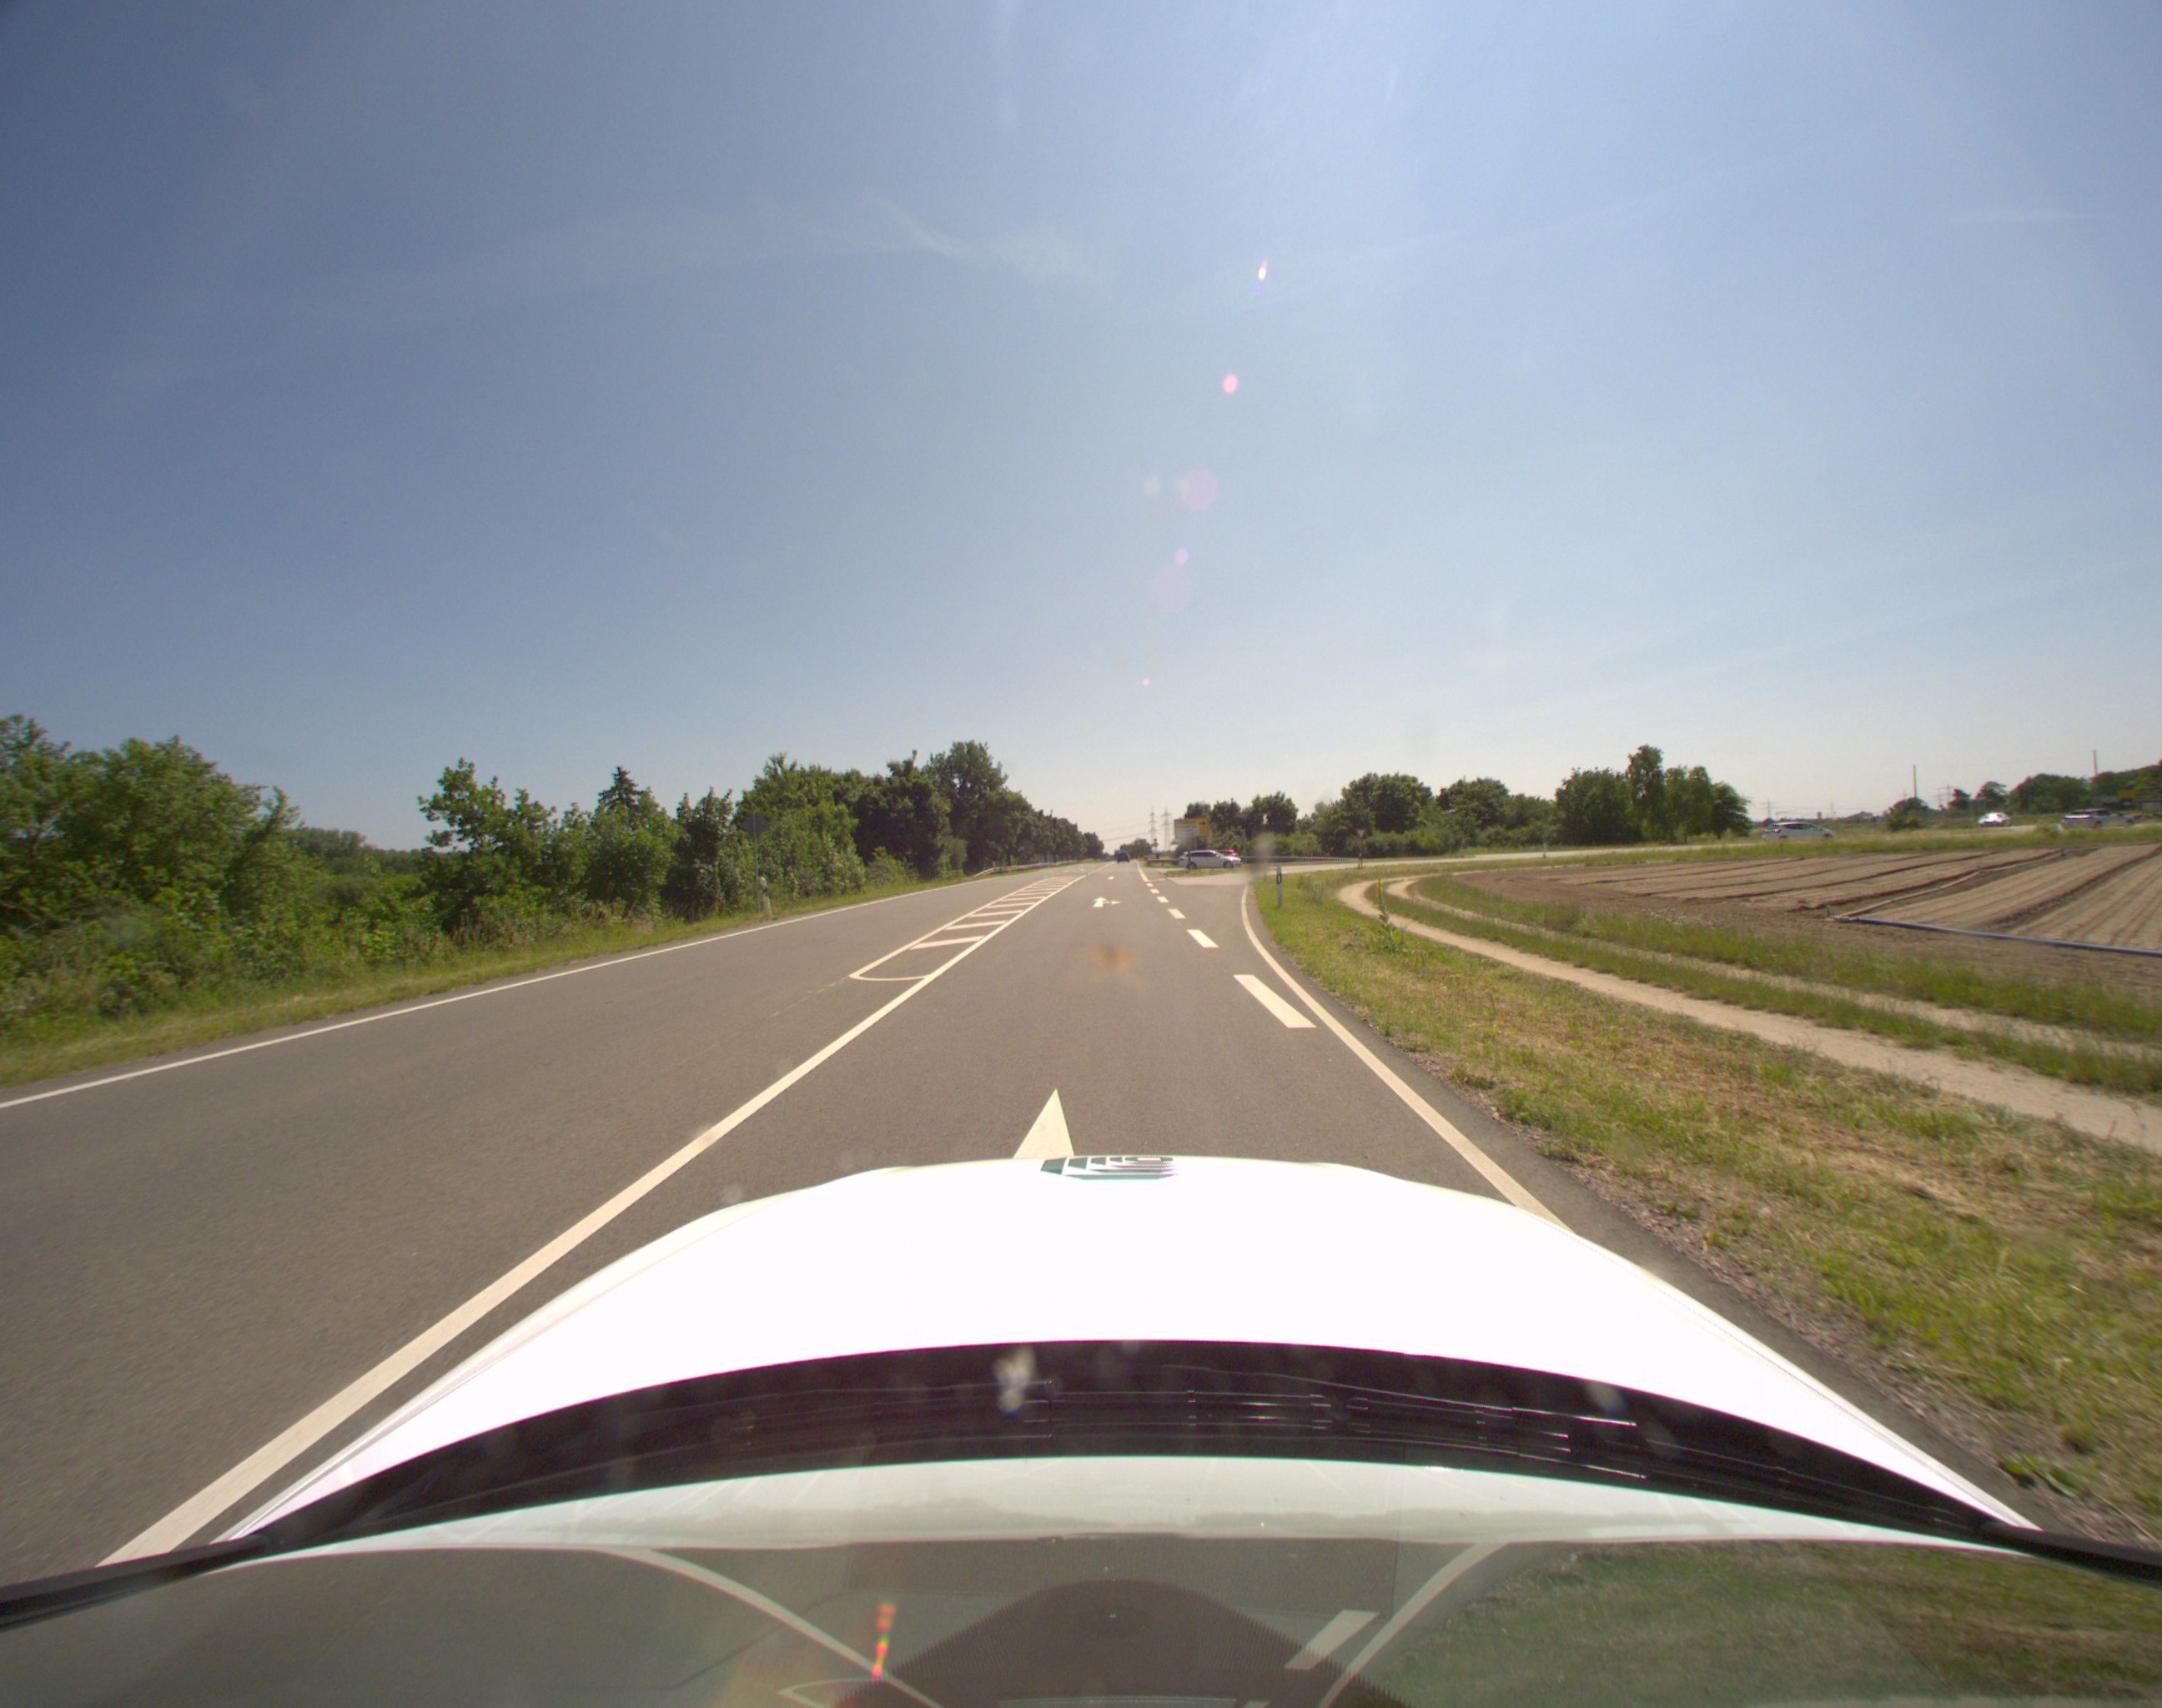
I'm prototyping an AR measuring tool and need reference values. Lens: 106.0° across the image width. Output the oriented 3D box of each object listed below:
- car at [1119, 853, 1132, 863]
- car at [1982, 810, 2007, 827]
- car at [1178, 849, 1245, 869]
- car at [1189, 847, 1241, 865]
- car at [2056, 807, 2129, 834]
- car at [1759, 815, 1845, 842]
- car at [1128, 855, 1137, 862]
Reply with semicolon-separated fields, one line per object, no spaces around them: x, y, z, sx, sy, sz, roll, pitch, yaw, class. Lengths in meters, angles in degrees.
6.749;0.654;124.699;1.878;1.518;4.041;-1;0;1;car
95.966;-3.746;85.523;4.792;1.623;1.625;-3;0;-41;car
9.628;0.384;60.154;4.664;1.418;1.849;-1;0;16;car
11.587;0.166;70.401;4.121;1.418;1.787;-2;-1;16;car
69.762;-2.283;56.179;3.994;1.623;1.636;-3;0;-15;car
52.099;-1.825;58.944;4.099;1.623;2.079;-3;0;14;car
10.239;0.961;162.187;1.638;1.341;4.041;-1;0;1;car
